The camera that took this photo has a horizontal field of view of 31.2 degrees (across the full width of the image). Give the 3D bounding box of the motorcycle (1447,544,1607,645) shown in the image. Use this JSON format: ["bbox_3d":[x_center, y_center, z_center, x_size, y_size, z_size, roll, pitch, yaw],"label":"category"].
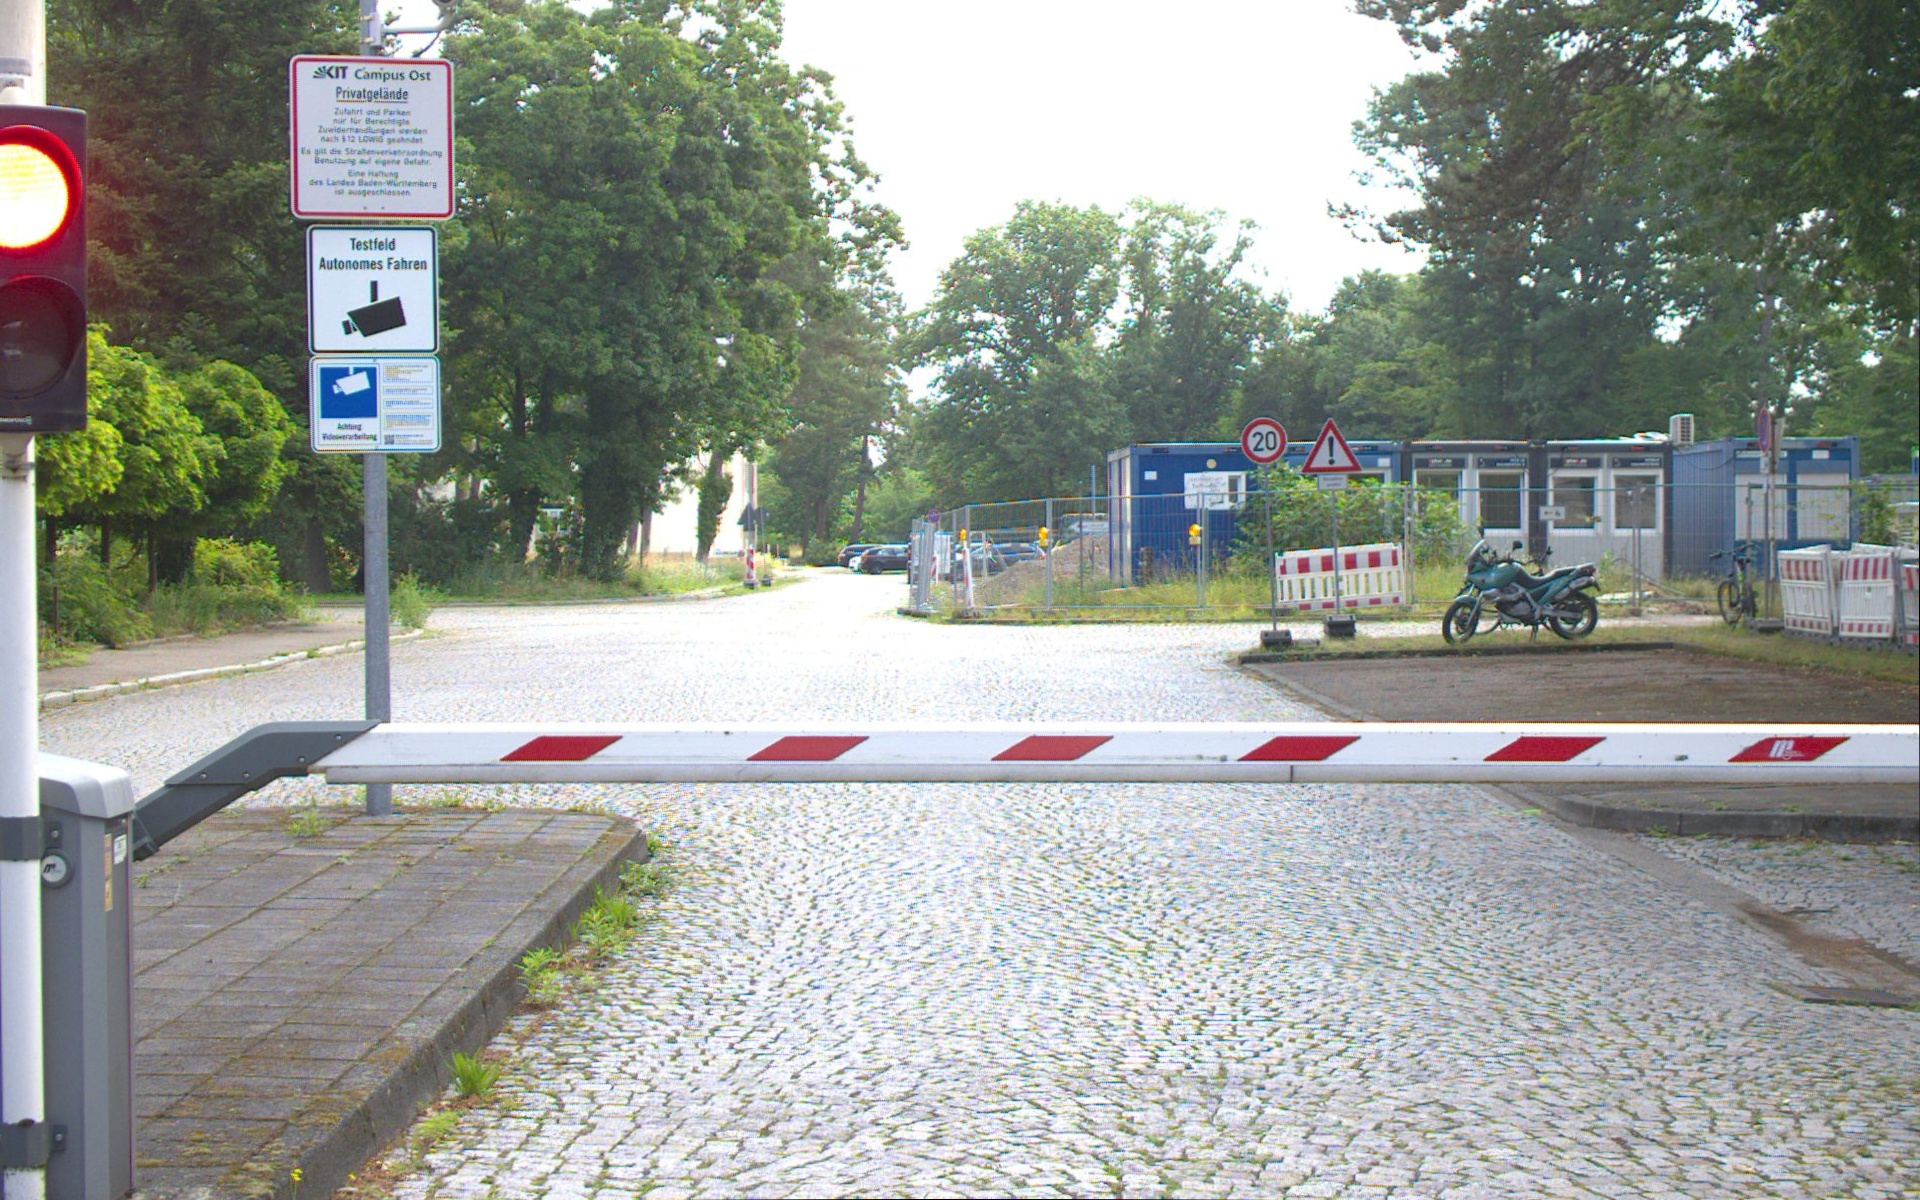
[{"bbox_3d":[7.272,-0.072,44.087,1.956,1.191,0.461,-2,6,-2],"label":"motorcycle"}]

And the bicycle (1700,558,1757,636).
[{"bbox_3d":[10.178,-0.024,45.560,0.332,1.004,1.726,-1,-1,-1],"label":"bicycle"}]
